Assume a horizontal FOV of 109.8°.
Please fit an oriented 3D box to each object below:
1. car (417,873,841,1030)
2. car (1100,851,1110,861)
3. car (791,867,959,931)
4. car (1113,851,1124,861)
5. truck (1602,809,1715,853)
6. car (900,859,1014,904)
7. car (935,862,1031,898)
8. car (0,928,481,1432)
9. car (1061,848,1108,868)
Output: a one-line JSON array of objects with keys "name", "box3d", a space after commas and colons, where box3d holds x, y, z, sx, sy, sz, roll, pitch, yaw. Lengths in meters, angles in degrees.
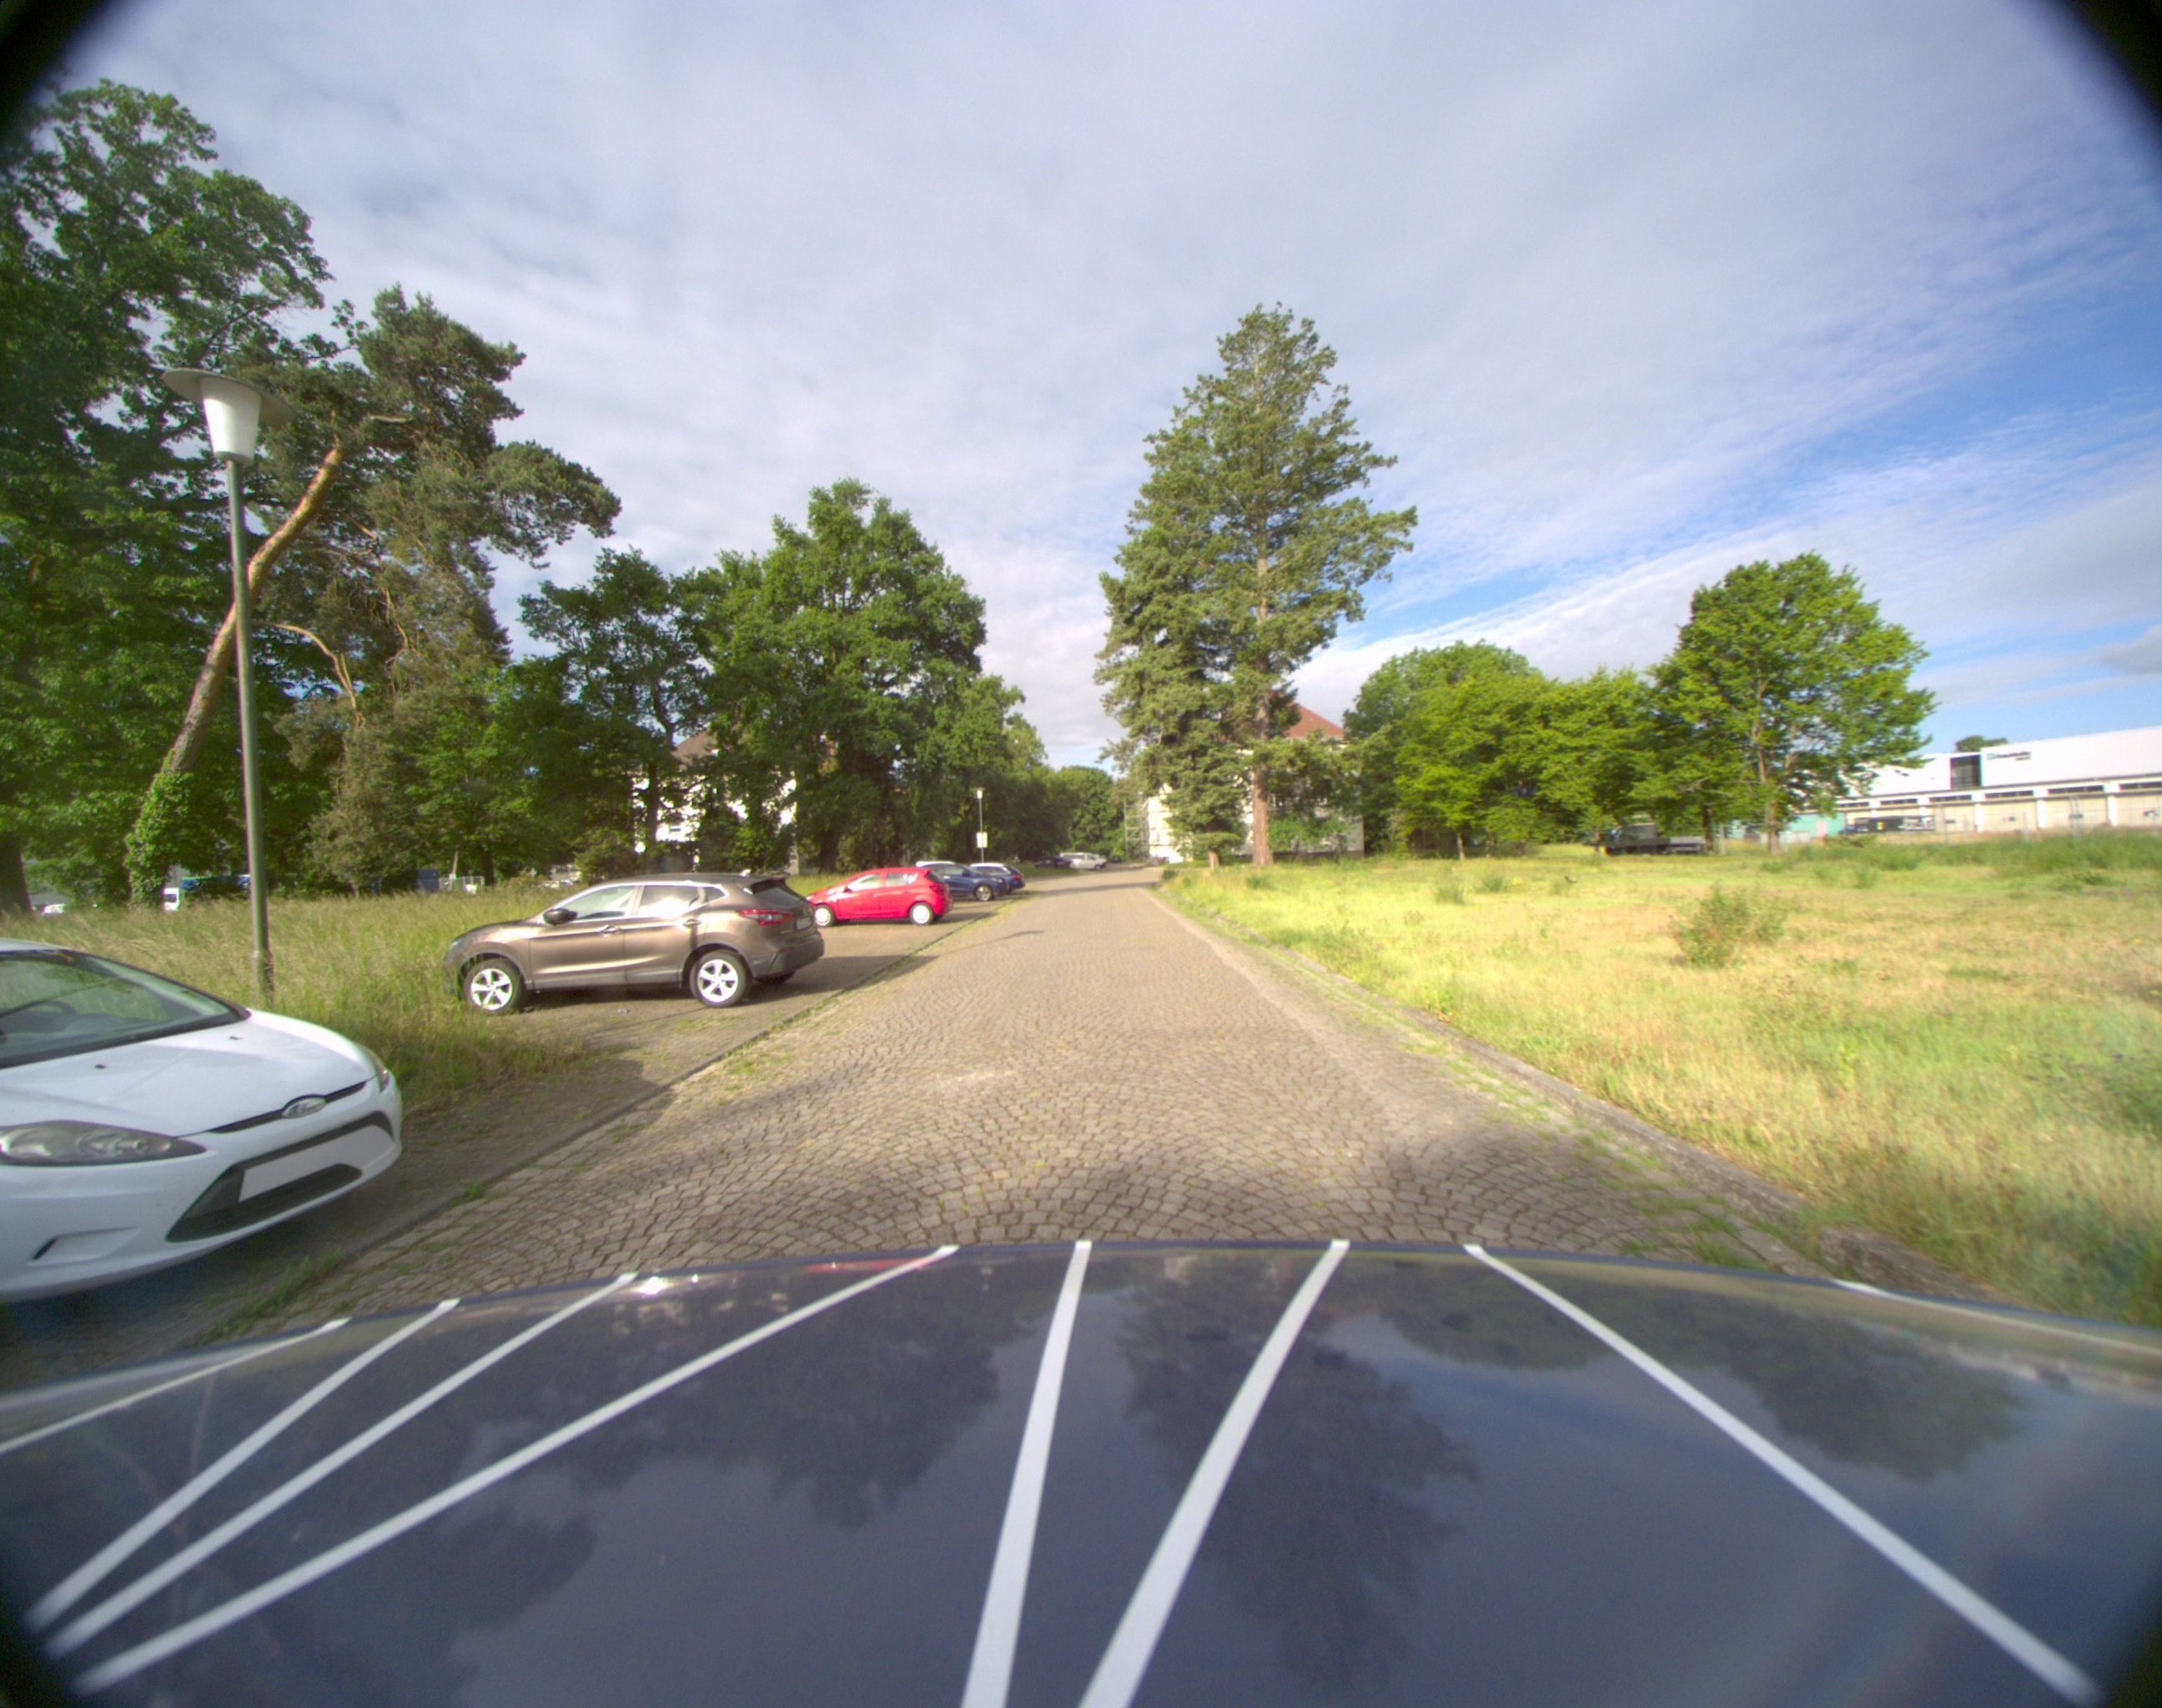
[{"name": "car", "box3d": [-5.485, 1.147, 9.672, 4.201, 1.580, 1.877, -2, 1, 0]}, {"name": "car", "box3d": [4.736, 0.379, 149.781, 1.874, 1.888, 3.999, -3, 1, 1]}, {"name": "car", "box3d": [-5.318, 1.141, 19.935, 3.886, 1.464, 1.686, -2, 1, 0]}, {"name": "car", "box3d": [7.469, 0.303, 149.941, 1.998, 1.762, 4.108, -3, 1, 1]}, {"name": "truck", "box3d": [37.753, -1.407, 50.044, 2.417, 2.572, 6.960, -3, 0, 4]}, {"name": "car", "box3d": [-4.868, 1.056, 30.213, 4.135, 1.560, 1.746, -2, 1, 1]}, {"name": "car", "box3d": [-4.456, 1.173, 34.906, 4.035, 1.442, 1.783, -2, 1, 3]}, {"name": "car", "box3d": [-5.506, 1.234, 3.316, 4.202, 1.461, 1.807, -2, 1, -2]}, {"name": "car", "box3d": [0.412, 0.433, 83.758, 5.078, 2.029, 2.000, -3, 0, 1]}]
